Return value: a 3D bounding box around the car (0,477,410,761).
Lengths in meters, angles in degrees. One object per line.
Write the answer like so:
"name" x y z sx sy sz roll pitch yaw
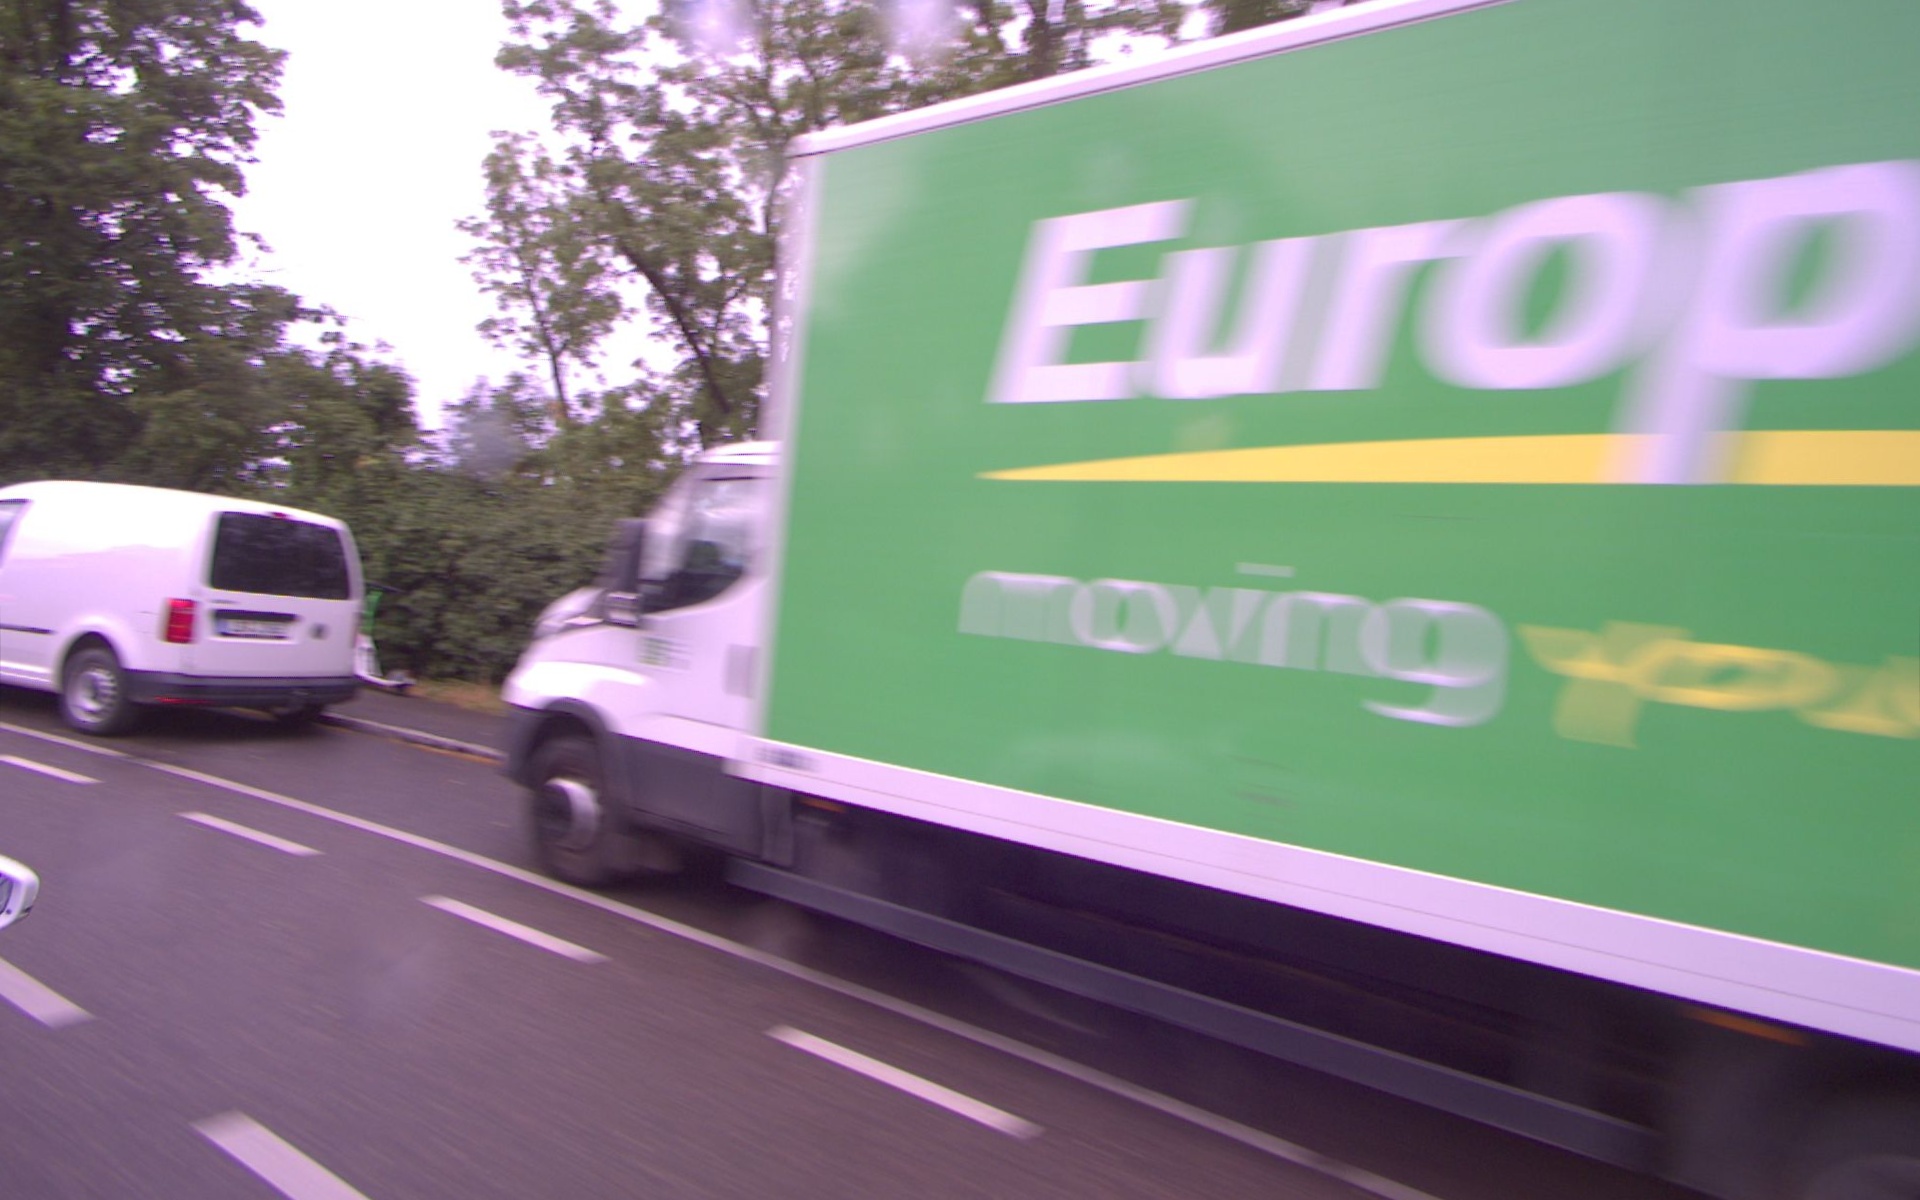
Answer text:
"car" -7.092 0.026 8.292 4.296 1.791 1.867 6 -1 17

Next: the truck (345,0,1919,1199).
"truck" 1.366 0.023 4.090 8.788 3.512 2.777 6 -1 33
